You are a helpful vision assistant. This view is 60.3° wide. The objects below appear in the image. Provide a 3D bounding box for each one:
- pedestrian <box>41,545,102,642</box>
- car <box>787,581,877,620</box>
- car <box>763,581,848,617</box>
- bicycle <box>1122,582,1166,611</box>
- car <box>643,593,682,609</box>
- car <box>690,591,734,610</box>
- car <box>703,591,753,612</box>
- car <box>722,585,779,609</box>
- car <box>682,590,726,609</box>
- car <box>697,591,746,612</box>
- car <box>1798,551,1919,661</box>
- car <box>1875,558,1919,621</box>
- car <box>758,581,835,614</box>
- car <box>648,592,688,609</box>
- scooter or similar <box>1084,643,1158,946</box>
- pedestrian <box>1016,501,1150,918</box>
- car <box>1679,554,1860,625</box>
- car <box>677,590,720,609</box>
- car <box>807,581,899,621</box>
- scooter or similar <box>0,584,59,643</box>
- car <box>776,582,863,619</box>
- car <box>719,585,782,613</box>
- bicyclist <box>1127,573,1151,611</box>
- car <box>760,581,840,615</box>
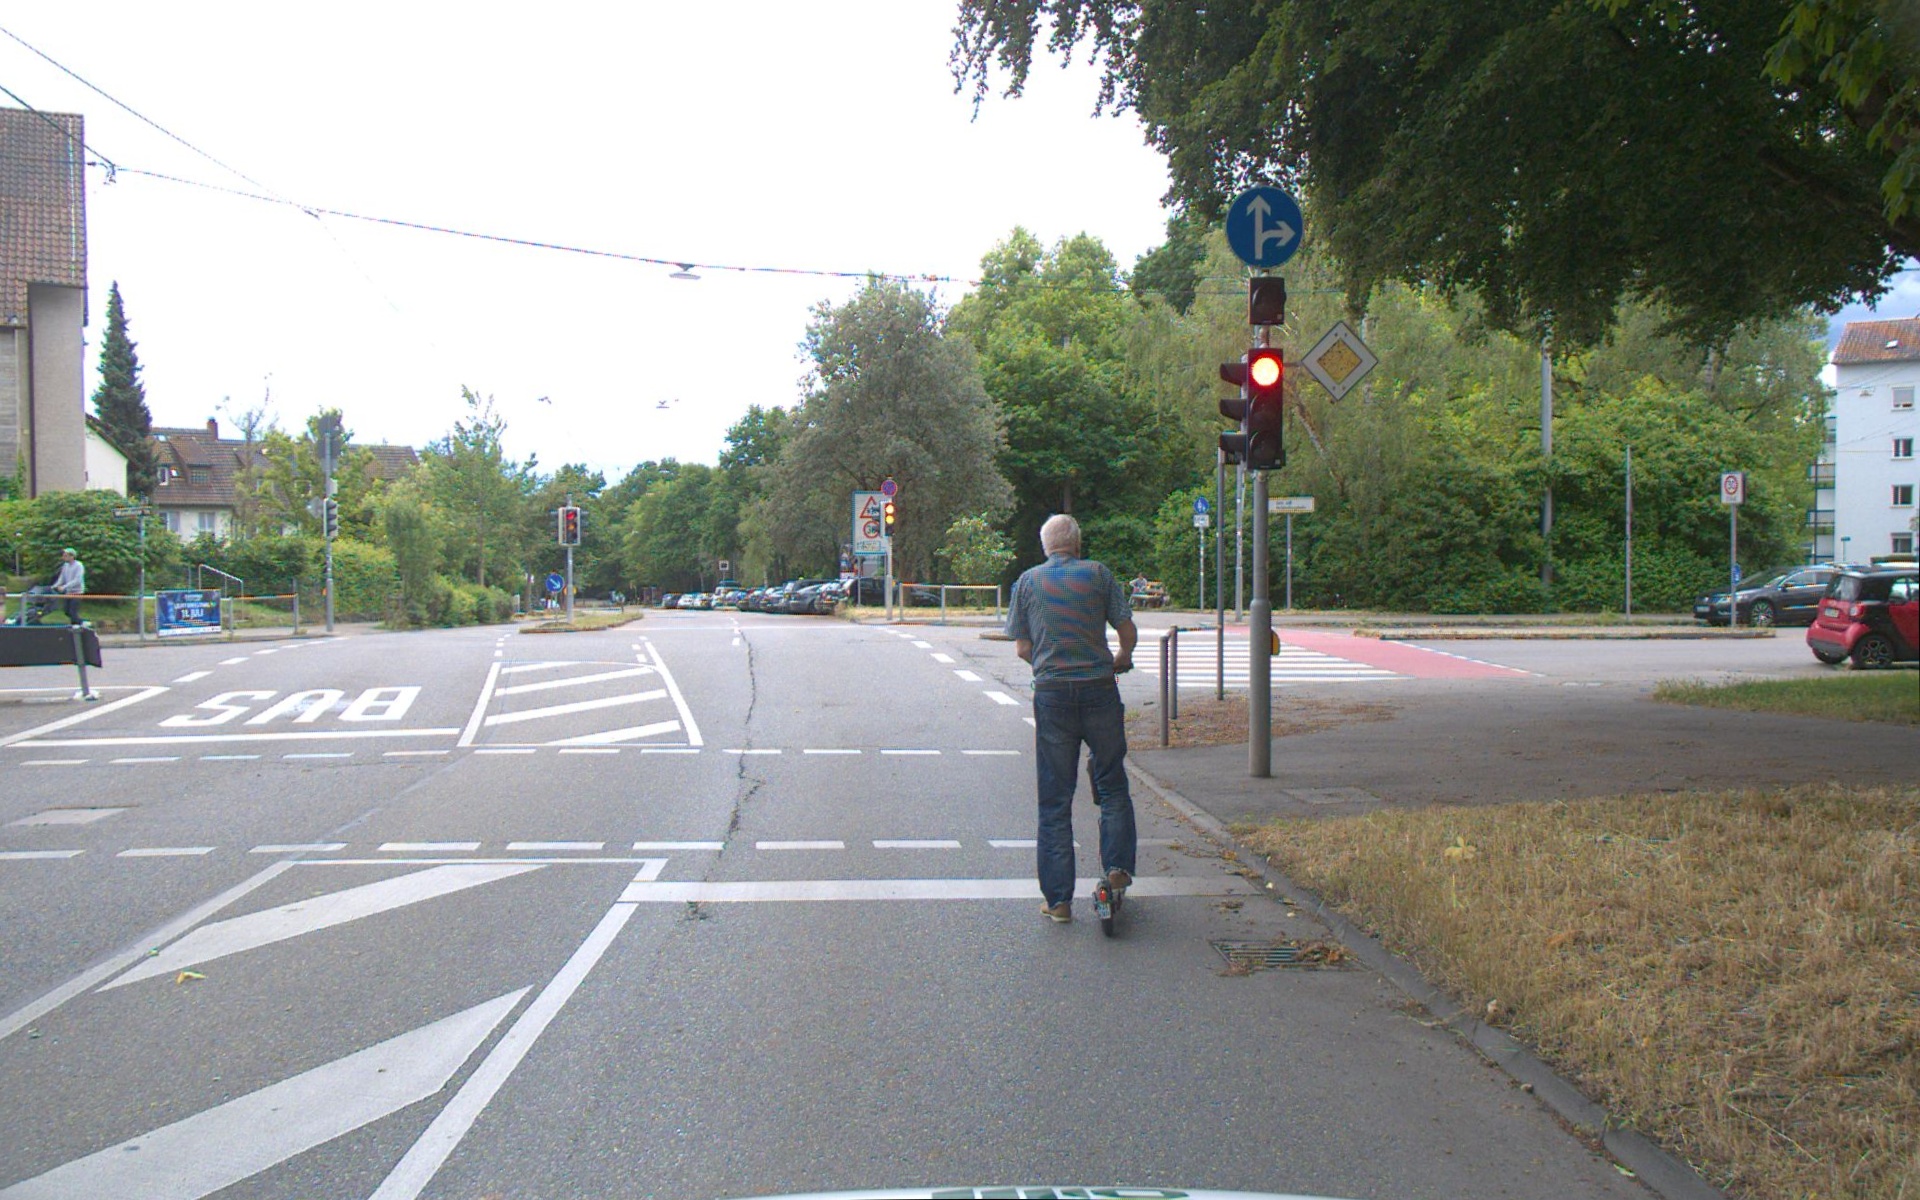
[{"bbox_3d":[-17.496,-0.131,32.577,0.561,1.895,0.885,-1,1,28],"label":"pedestrian"},{"bbox_3d":[-5.927,0.016,76.663,3.792,1.639,1.715,-2,1,-25],"label":"car"},{"bbox_3d":[-7.572,-0.057,81.215,3.790,1.639,1.716,-2,1,-24],"label":"car"},{"bbox_3d":[6.324,-0.116,56.843,0.485,0.975,1.914,1,0,42],"label":"bicycle"},{"bbox_3d":[-31.923,0.098,177.480,3.790,1.639,1.716,-2,1,-24],"label":"car"},{"bbox_3d":[-23.052,0.032,153.714,3.790,1.639,1.716,-2,1,-24],"label":"car"},{"bbox_3d":[-19.451,0.138,138.788,3.790,1.639,1.716,-2,1,-24],"label":"car"},{"bbox_3d":[-15.431,-0.209,121.653,3.790,1.639,1.716,-2,1,-24],"label":"car"},{"bbox_3d":[-24.112,-0.040,155.831,3.790,1.639,1.716,-2,1,-24],"label":"car"},{"bbox_3d":[-20.545,0.106,142.447,3.790,1.639,1.716,-2,1,-24],"label":"car"},{"bbox_3d":[15.256,0.046,25.830,3.444,1.639,1.729,-2,1,4],"label":"car"},{"bbox_3d":[26.406,-0.336,45.811,1.689,1.639,3.850,-1,1,27],"label":"car"},{"bbox_3d":[-8.799,-0.132,88.922,3.790,1.639,1.716,-2,1,-24],"label":"car"},{"bbox_3d":[-30.914,0.038,175.158,3.790,1.639,1.716,-2,1,-24],"label":"car"},{"bbox_3d":[0.731,0.815,7.388,0.276,1.199,1.178,-1,1,7],"label":"scooter or similar"},{"bbox_3d":[0.570,0.485,7.561,0.560,1.845,0.421,-1,0,7],"label":"pedestrian"},{"bbox_3d":[19.154,-0.263,39.231,3.444,1.557,1.729,-2,1,5],"label":"car"},{"bbox_3d":[-25.043,-0.067,158.387,3.790,1.639,1.716,-2,1,-24],"label":"car"},{"bbox_3d":[-4.842,0.022,74.709,3.787,1.639,1.717,-2,1,-22],"label":"car"},{"bbox_3d":[-17.982,0.255,31.700,0.564,1.100,1.110,-1,1,27],"label":"scooter or similar"},{"bbox_3d":[-6.720,-0.003,79.193,3.790,1.639,1.716,-2,1,-24],"label":"car"},{"bbox_3d":[-13.775,-0.073,108.710,3.790,1.639,1.716,-2,1,-24],"label":"car"},{"bbox_3d":[6.137,-0.269,56.620,0.485,1.270,0.674,1,0,42],"label":"bicyclist"},{"bbox_3d":[-8.360,-0.119,86.517,3.790,1.639,1.716,-2,1,-24],"label":"car"}]
